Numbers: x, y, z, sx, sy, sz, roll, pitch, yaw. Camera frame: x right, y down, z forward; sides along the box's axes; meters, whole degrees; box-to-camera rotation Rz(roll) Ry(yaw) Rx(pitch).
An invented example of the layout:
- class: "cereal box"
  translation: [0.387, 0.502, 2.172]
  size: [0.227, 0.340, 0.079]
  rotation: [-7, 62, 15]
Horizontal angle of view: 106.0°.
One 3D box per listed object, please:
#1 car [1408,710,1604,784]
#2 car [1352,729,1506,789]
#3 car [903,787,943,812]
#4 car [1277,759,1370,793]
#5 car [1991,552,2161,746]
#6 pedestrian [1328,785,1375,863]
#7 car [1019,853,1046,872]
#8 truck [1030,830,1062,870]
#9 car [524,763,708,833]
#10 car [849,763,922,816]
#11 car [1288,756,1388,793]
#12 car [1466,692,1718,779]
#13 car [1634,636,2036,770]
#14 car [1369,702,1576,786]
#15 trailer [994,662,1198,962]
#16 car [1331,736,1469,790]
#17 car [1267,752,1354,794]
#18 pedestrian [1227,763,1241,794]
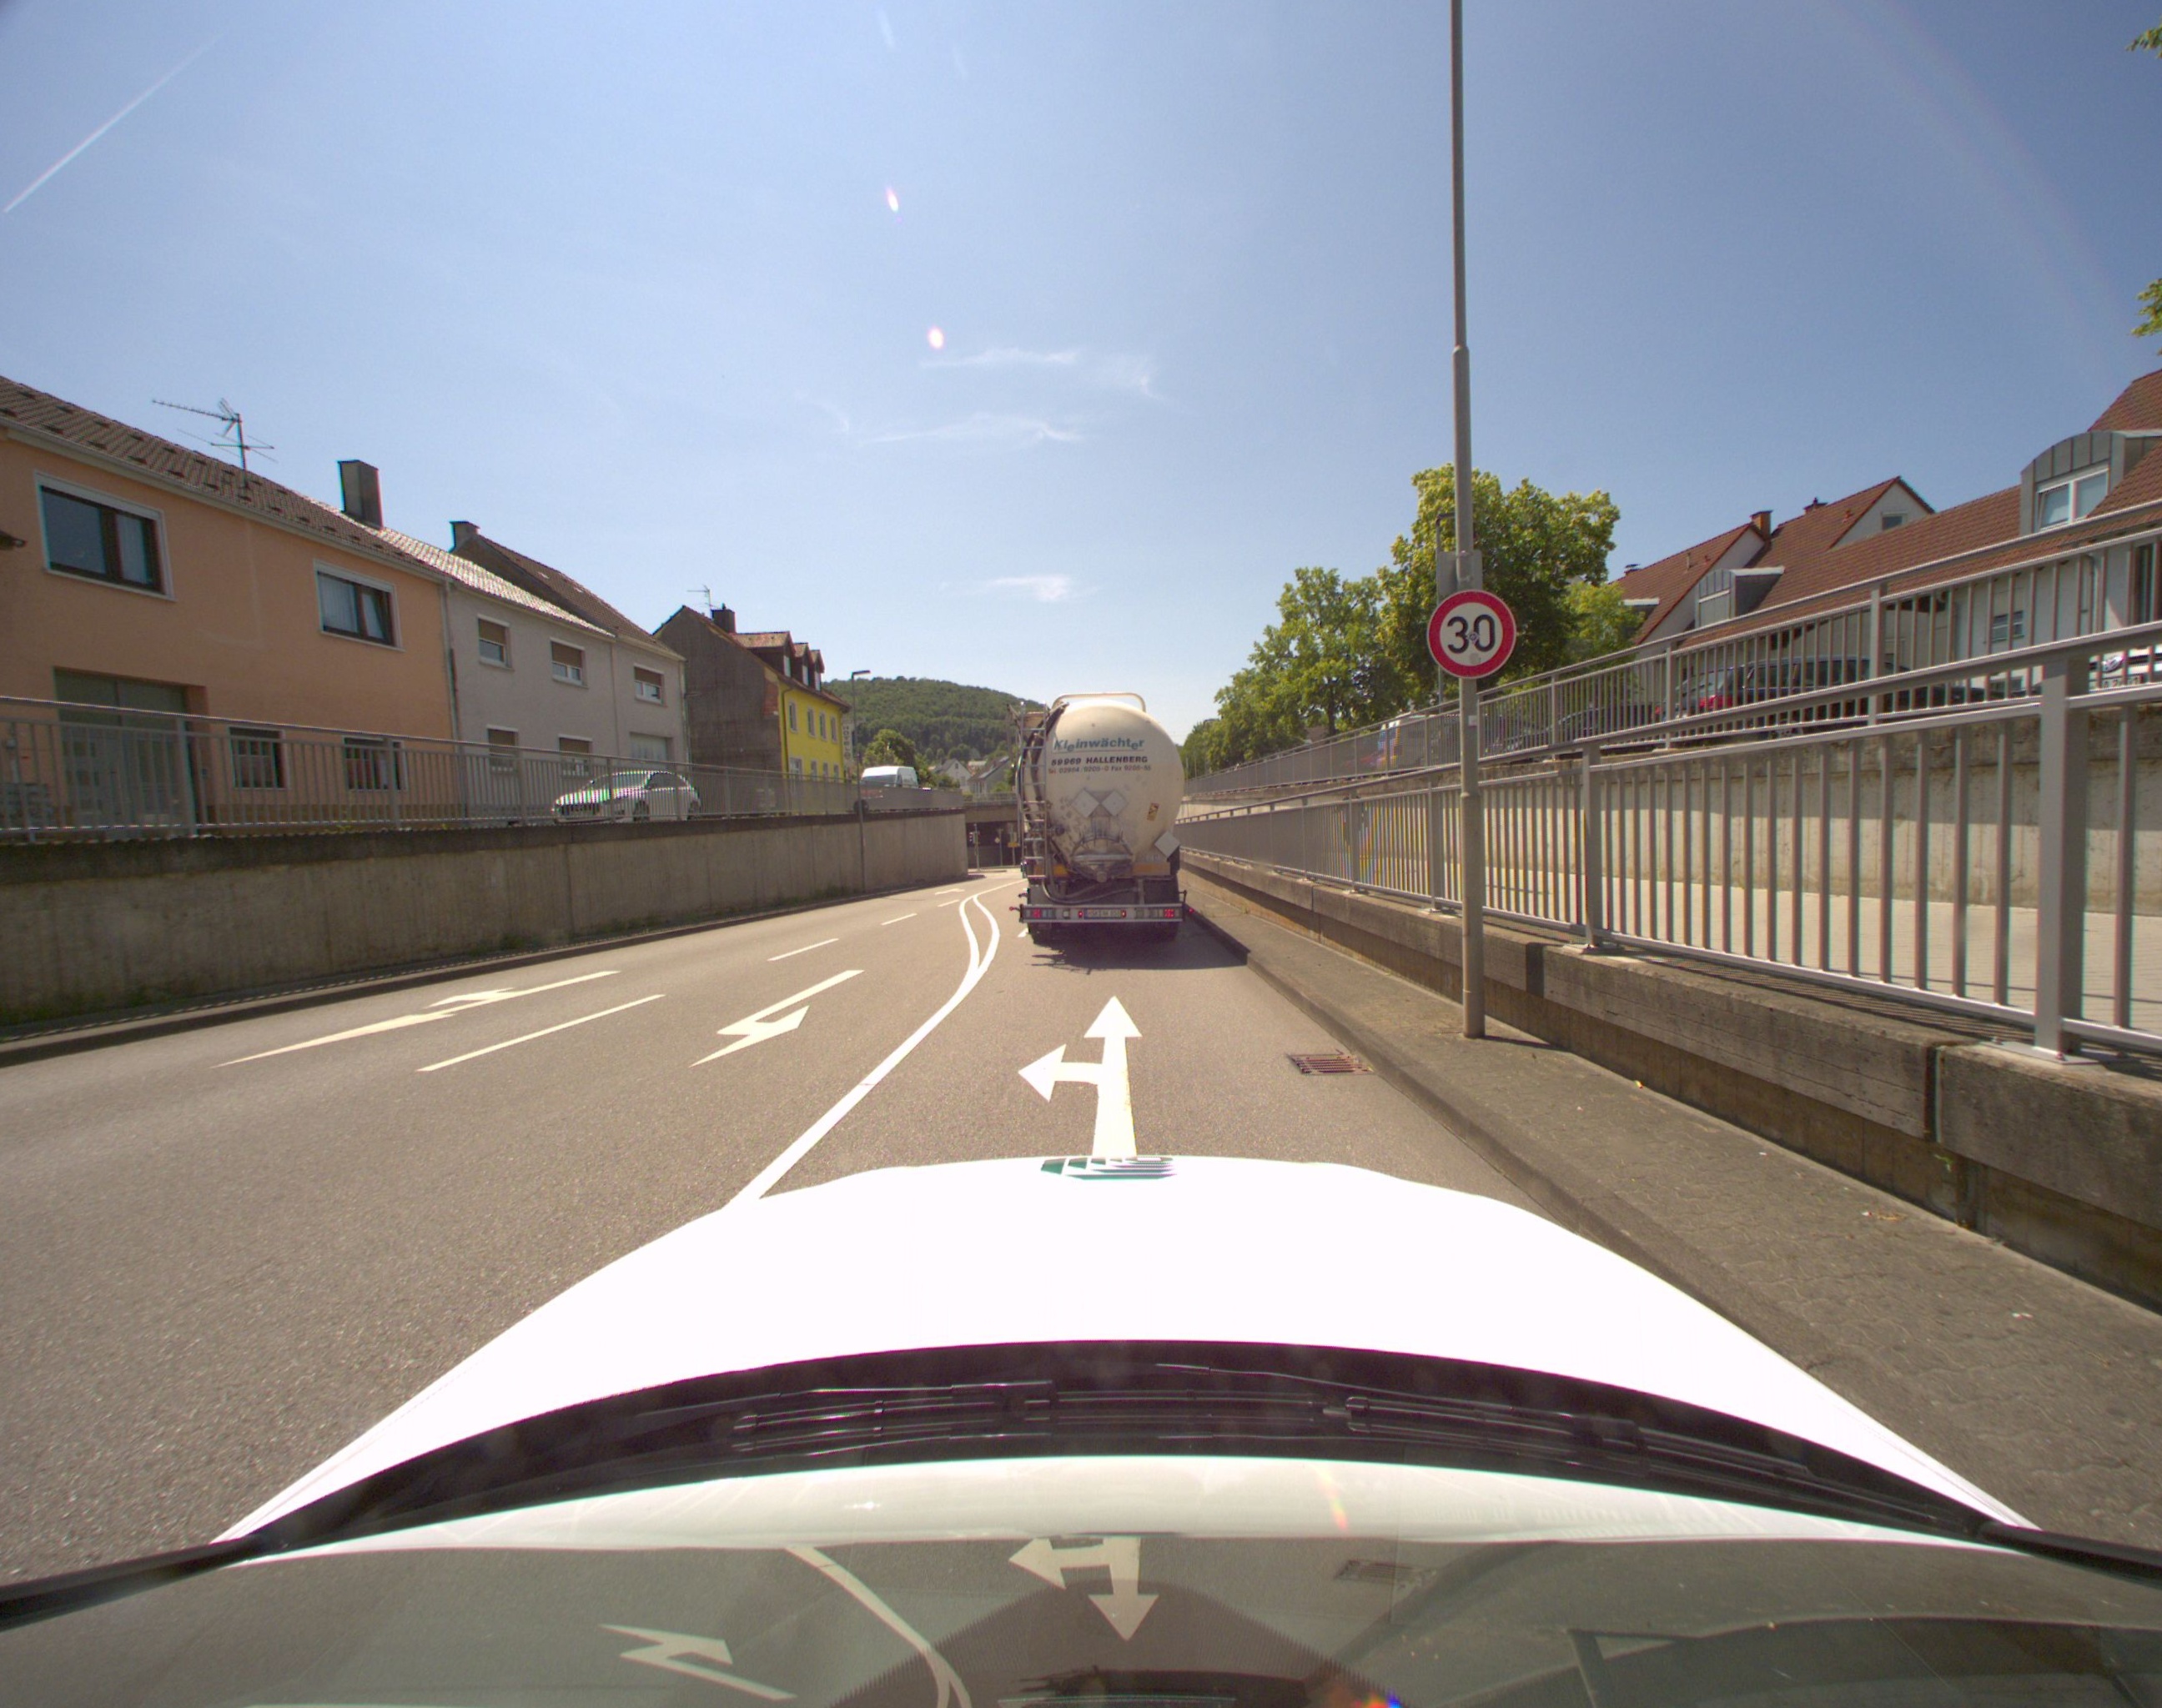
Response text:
- class: "car"
  translation: [10.907, -2.737, 21.116]
  size: [4.187, 1.595, 1.688]
  rotation: [-2, 3, 2]
- class: "car"
  translation: [11.056, -3.007, 26.052]
  size: [4.187, 1.595, 1.688]
  rotation: [-2, 3, 2]
- class: "car"
  translation: [-9.945, -3.440, 51.390]
  size: [1.613, 1.500, 4.047]
  rotation: [-1, 3, 1]
- class: "car"
  translation: [11.363, -3.643, 38.386]
  size: [3.890, 1.367, 1.688]
  rotation: [-2, 3, 2]
- class: "car"
  translation: [10.931, -1.849, 7.091]
  size: [3.971, 1.498, 1.750]
  rotation: [-2, 3, 2]
- class: "pedestrian"
  translation: [6.447, -0.706, 19.431]
  size: [0.833, 1.781, 0.789]
  rotation: [-2, 1, 2]
- class: "car"
  translation: [-3.990, 0.693, 68.188]
  size: [1.753, 1.489, 4.371]
  rotation: [-1, 0, 3]
- class: "truck"
  translation: [-3.551, -0.401, 84.701]
  size: [2.651, 3.860, 6.584]
  rotation: [-1, 0, 3]
- class: "car"
  translation: [-10.887, -1.326, 19.489]
  size: [1.807, 1.462, 4.312]
  rotation: [-1, 3, 1]
- class: "car"
  translation: [-9.959, -3.274, 42.101]
  size: [2.057, 2.535, 5.668]
  rotation: [-1, 3, 3]
- class: "car"
  translation: [11.284, -3.501, 35.946]
  size: [3.890, 1.367, 1.688]
  rotation: [-2, 3, 2]
- class: "car"
  translation: [10.759, -2.468, 17.374]
  size: [4.268, 1.498, 1.750]
  rotation: [-2, 3, 2]
- class: "car"
  translation: [10.687, -2.106, 11.784]
  size: [4.187, 1.498, 1.688]
  rotation: [-2, 3, 2]
- class: "car"
  translation: [11.343, -3.159, 23.865]
  size: [5.091, 2.063, 1.991]
  rotation: [-2, 3, 2]
- class: "trailer"
  translation: [0.548, -0.606, 17.826]
  size: [2.724, 4.064, 13.323]
  rotation: [-1, 0, 3]
- class: "car"
  translation: [11.152, -3.165, 28.655]
  size: [4.187, 1.595, 1.688]
  rotation: [-2, 3, 2]
- class: "car"
  translation: [11.477, -4.040, 40.817]
  size: [3.890, 1.884, 1.688]
  rotation: [-2, 3, 2]
- class: "pedestrian"
  translation: [8.952, -4.414, 47.758]
  size: [0.670, 1.779, 0.595]
  rotation: [-2, 3, 3]
